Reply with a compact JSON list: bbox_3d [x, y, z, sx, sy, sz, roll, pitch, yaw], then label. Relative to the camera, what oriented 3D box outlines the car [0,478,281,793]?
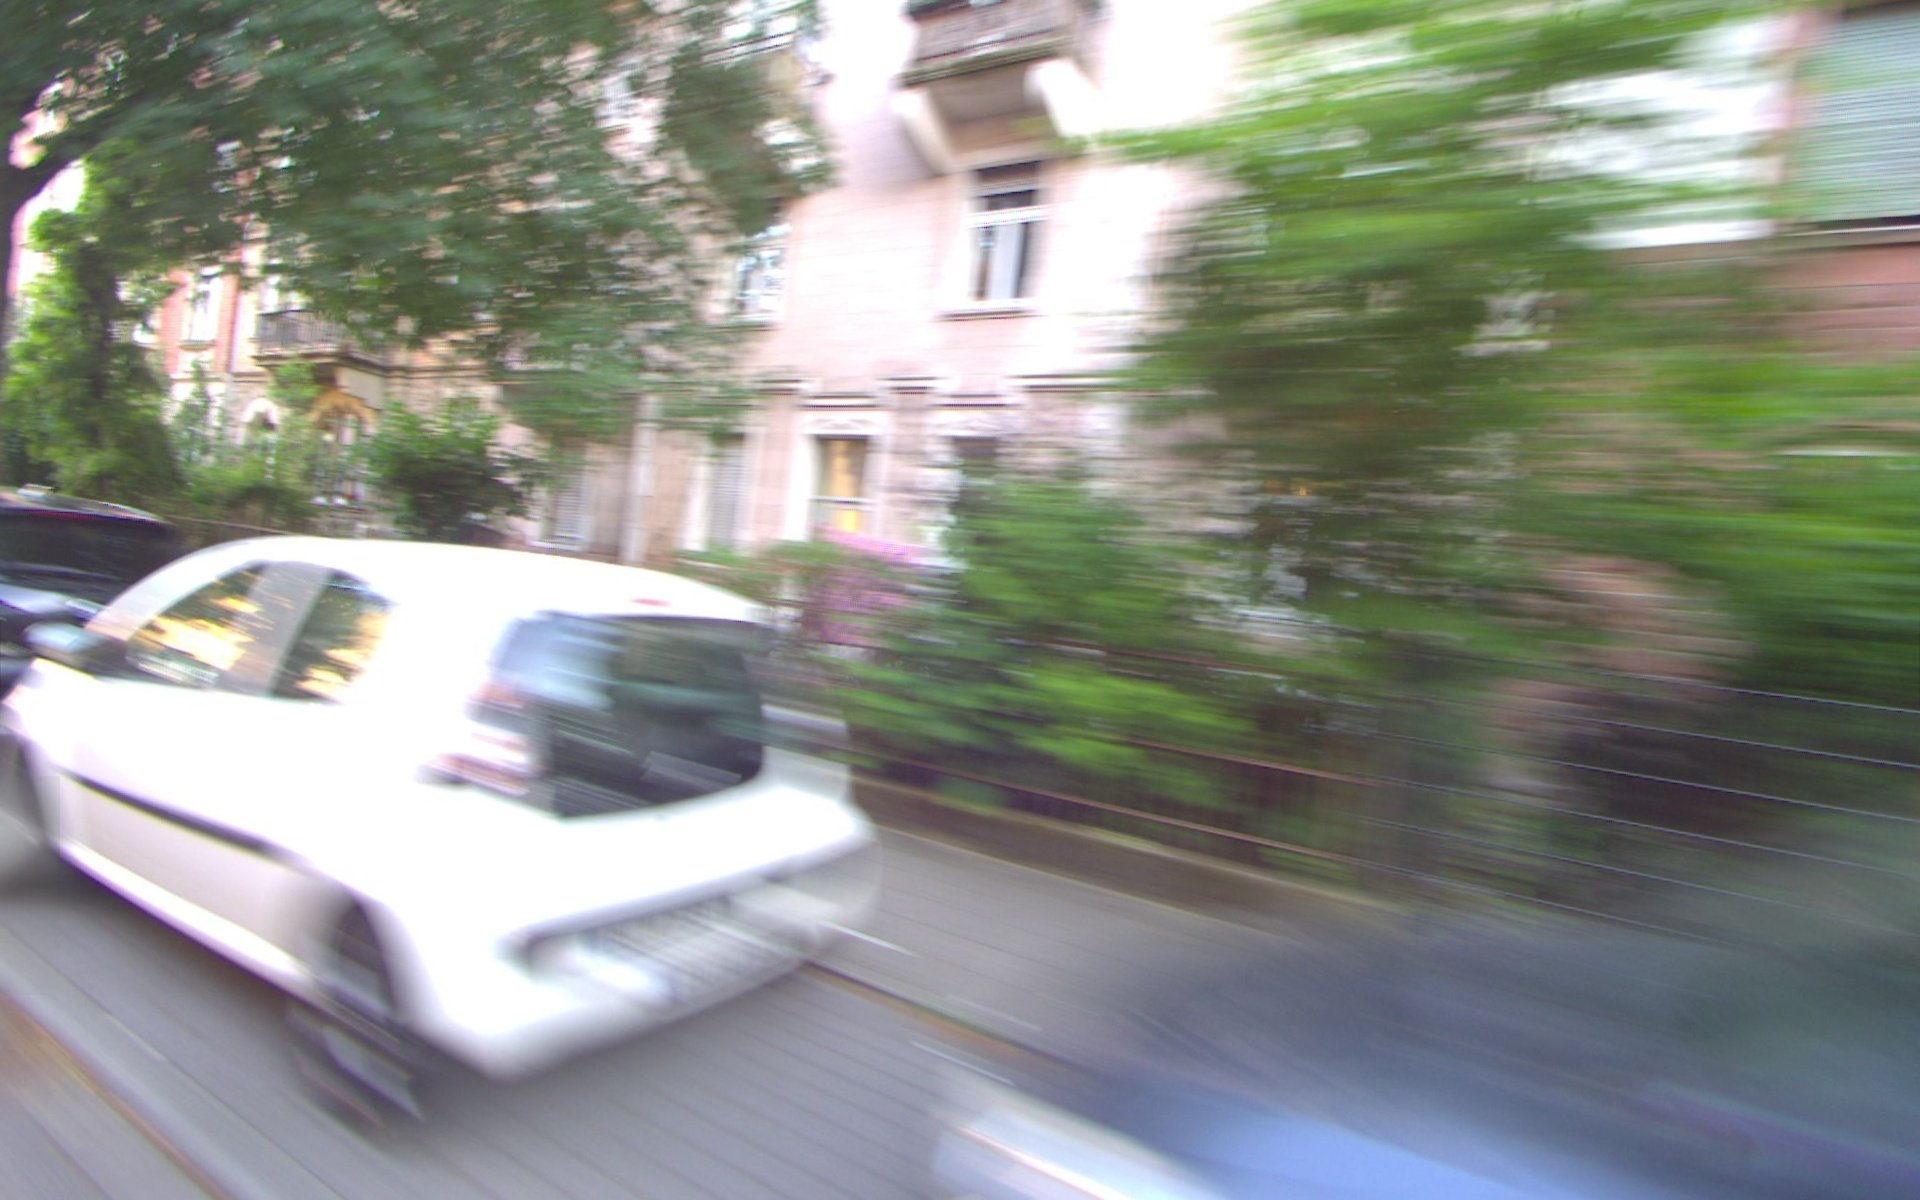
[{"bbox_3d":[-6.031,-0.020,5.983,4.139,1.460,1.688,7,1,32],"label":"car"}]

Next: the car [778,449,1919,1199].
[{"bbox_3d":[1.954,0.872,1.104,4.139,1.625,1.690,7,-1,31],"label":"car"}]

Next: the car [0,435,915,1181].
[{"bbox_3d":[-2.249,0.374,3.930,3.686,1.625,1.689,7,-1,32],"label":"car"}]
